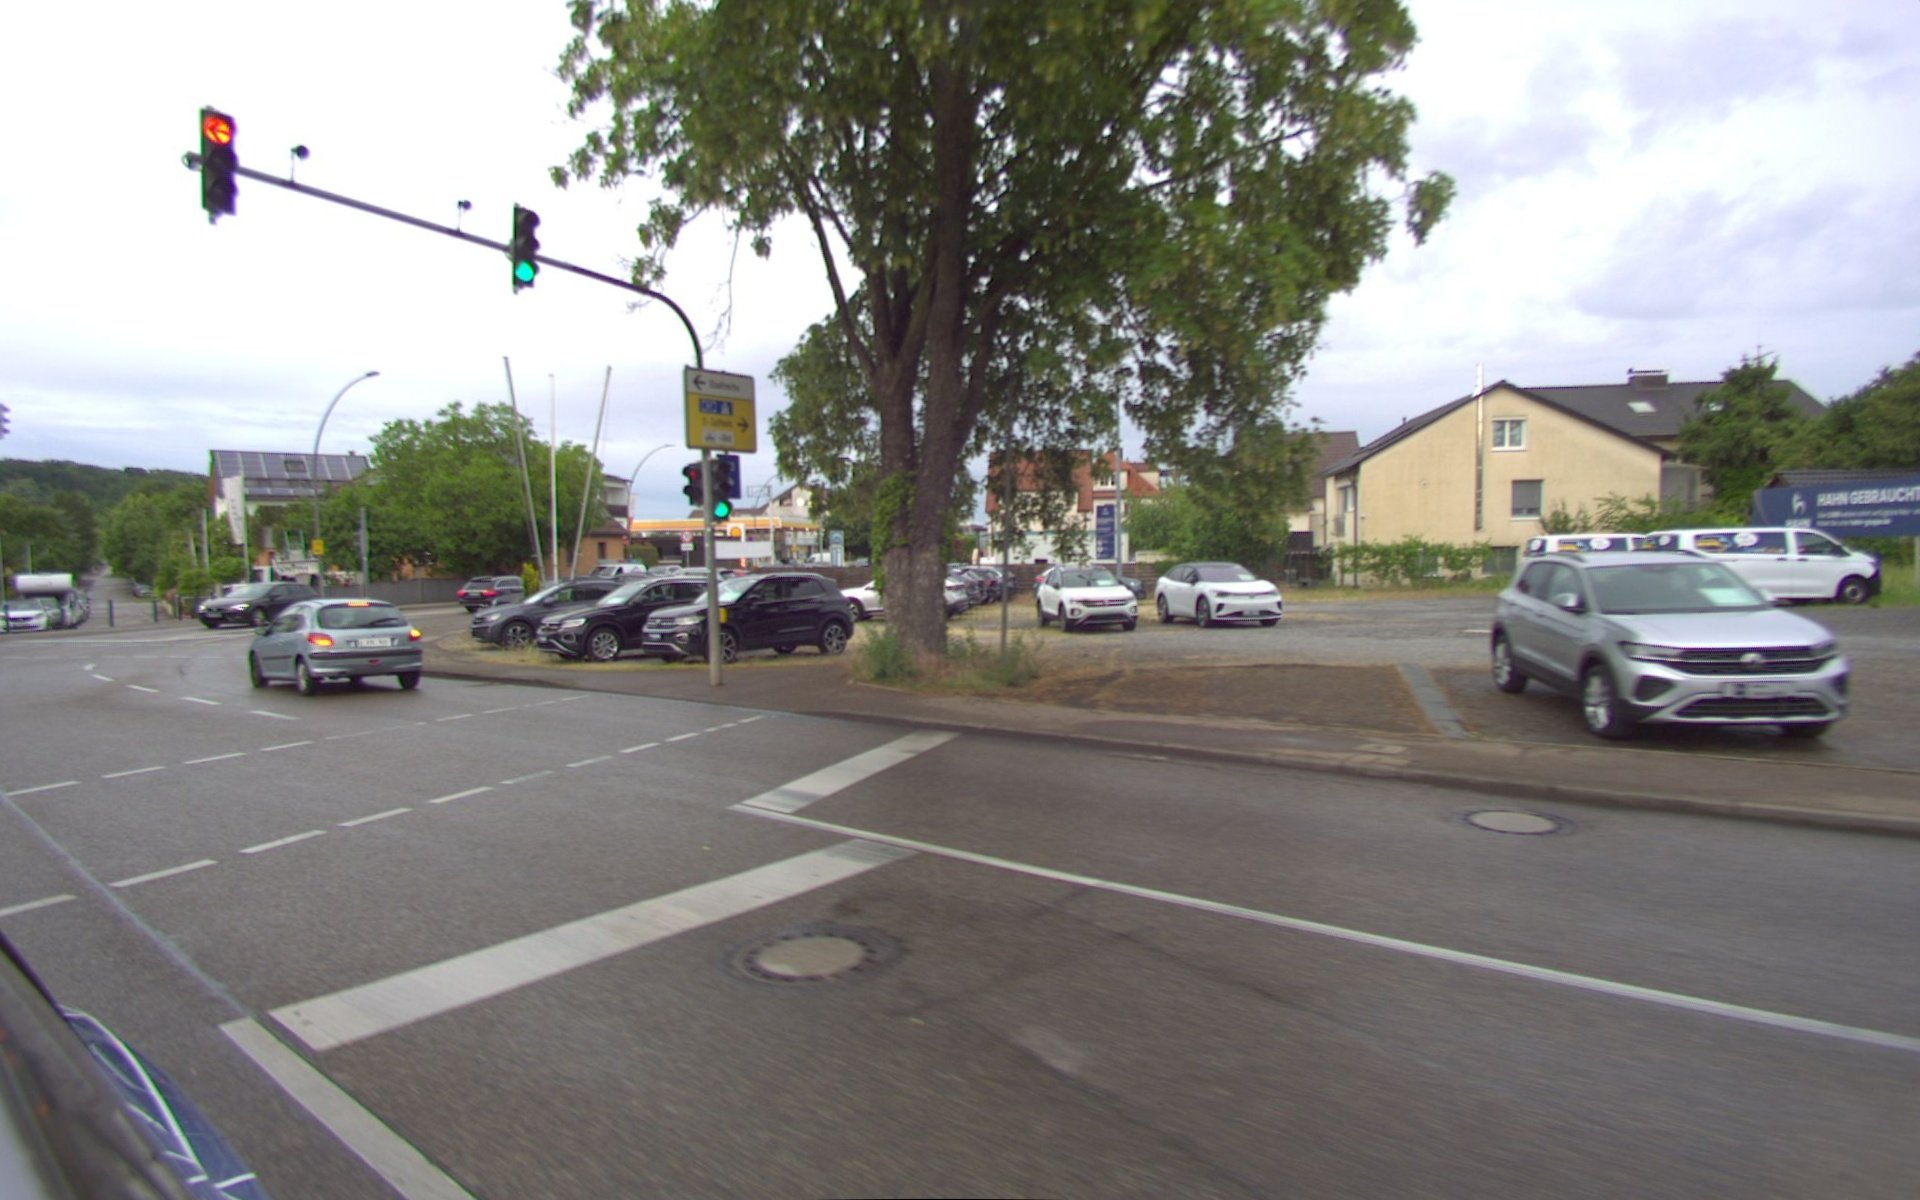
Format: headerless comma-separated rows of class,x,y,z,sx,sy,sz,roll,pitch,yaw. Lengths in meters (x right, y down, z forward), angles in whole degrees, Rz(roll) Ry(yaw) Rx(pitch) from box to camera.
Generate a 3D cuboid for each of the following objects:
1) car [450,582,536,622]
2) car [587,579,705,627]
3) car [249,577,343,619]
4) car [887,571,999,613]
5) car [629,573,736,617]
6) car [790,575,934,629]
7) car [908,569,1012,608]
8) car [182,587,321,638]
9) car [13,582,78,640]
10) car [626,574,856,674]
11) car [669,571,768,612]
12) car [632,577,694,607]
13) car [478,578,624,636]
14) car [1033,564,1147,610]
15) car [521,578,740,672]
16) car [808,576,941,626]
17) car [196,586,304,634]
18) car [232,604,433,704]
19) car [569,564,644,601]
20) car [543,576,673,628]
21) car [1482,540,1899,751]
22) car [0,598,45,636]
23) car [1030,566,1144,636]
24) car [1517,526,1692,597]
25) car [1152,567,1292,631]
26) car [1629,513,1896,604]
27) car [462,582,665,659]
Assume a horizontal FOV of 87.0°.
car,-19.338,0.050,42.099,1.746,1.438,4.000,1,3,0
car,-11.309,0.105,36.582,3.722,1.562,1.593,-2,1,1
car,-35.664,-0.147,54.397,4.176,2.120,1.765,1,3,10
car,-0.634,-0.322,38.631,3.998,1.462,1.786,-2,1,10
car,-10.831,-0.213,39.622,3.722,1.562,1.593,-2,1,1
car,-2.917,0.052,30.646,3.998,1.462,1.786,-2,1,10
car,0.018,-0.484,41.415,3.998,1.462,1.786,-2,1,10
car,-23.803,0.378,34.184,1.747,1.438,3.998,-1,3,2
car,-50.903,0.528,56.382,2.537,2.794,6.137,-2,3,-42
car,-3.934,0.366,18.614,1.673,1.579,3.841,-1,2,44
car,-10.139,-0.386,42.619,3.722,1.562,1.593,-2,1,1
car,-20.098,-0.547,68.706,2.031,1.877,4.907,-2,1,10
car,-12.232,0.181,30.403,3.720,1.562,1.594,-2,1,-2
car,4.843,-0.484,37.578,4.004,1.566,1.783,-2,2,14
car,-6.413,0.426,19.926,3.713,1.579,1.674,-3,2,-43
car,-2.770,0.008,33.168,3.998,1.462,1.786,-2,1,10
car,-34.250,0.468,48.867,4.338,2.120,1.765,1,3,11
car,-10.119,0.795,16.224,3.699,1.391,1.629,-1,1,40
car,-21.523,-1.059,61.878,2.031,2.102,5.239,-2,1,10
car,-11.624,0.036,33.604,3.722,1.562,1.593,-2,1,1
car,6.637,0.265,9.796,1.703,1.581,3.995,-3,3,11
car,-40.227,0.721,43.021,1.745,1.479,4.002,-3,2,-45
car,3.049,-0.025,25.081,1.762,1.521,4.051,-2,2,-8
car,19.916,-1.184,31.416,4.220,2.002,1.722,-2,1,5
car,6.477,-0.065,25.497,1.800,1.425,4.019,-2,1,-11
car,19.740,-1.006,25.093,4.813,2.002,1.958,-2,1,6
car,-9.168,0.413,23.495,4.091,1.521,1.677,-3,3,-33
